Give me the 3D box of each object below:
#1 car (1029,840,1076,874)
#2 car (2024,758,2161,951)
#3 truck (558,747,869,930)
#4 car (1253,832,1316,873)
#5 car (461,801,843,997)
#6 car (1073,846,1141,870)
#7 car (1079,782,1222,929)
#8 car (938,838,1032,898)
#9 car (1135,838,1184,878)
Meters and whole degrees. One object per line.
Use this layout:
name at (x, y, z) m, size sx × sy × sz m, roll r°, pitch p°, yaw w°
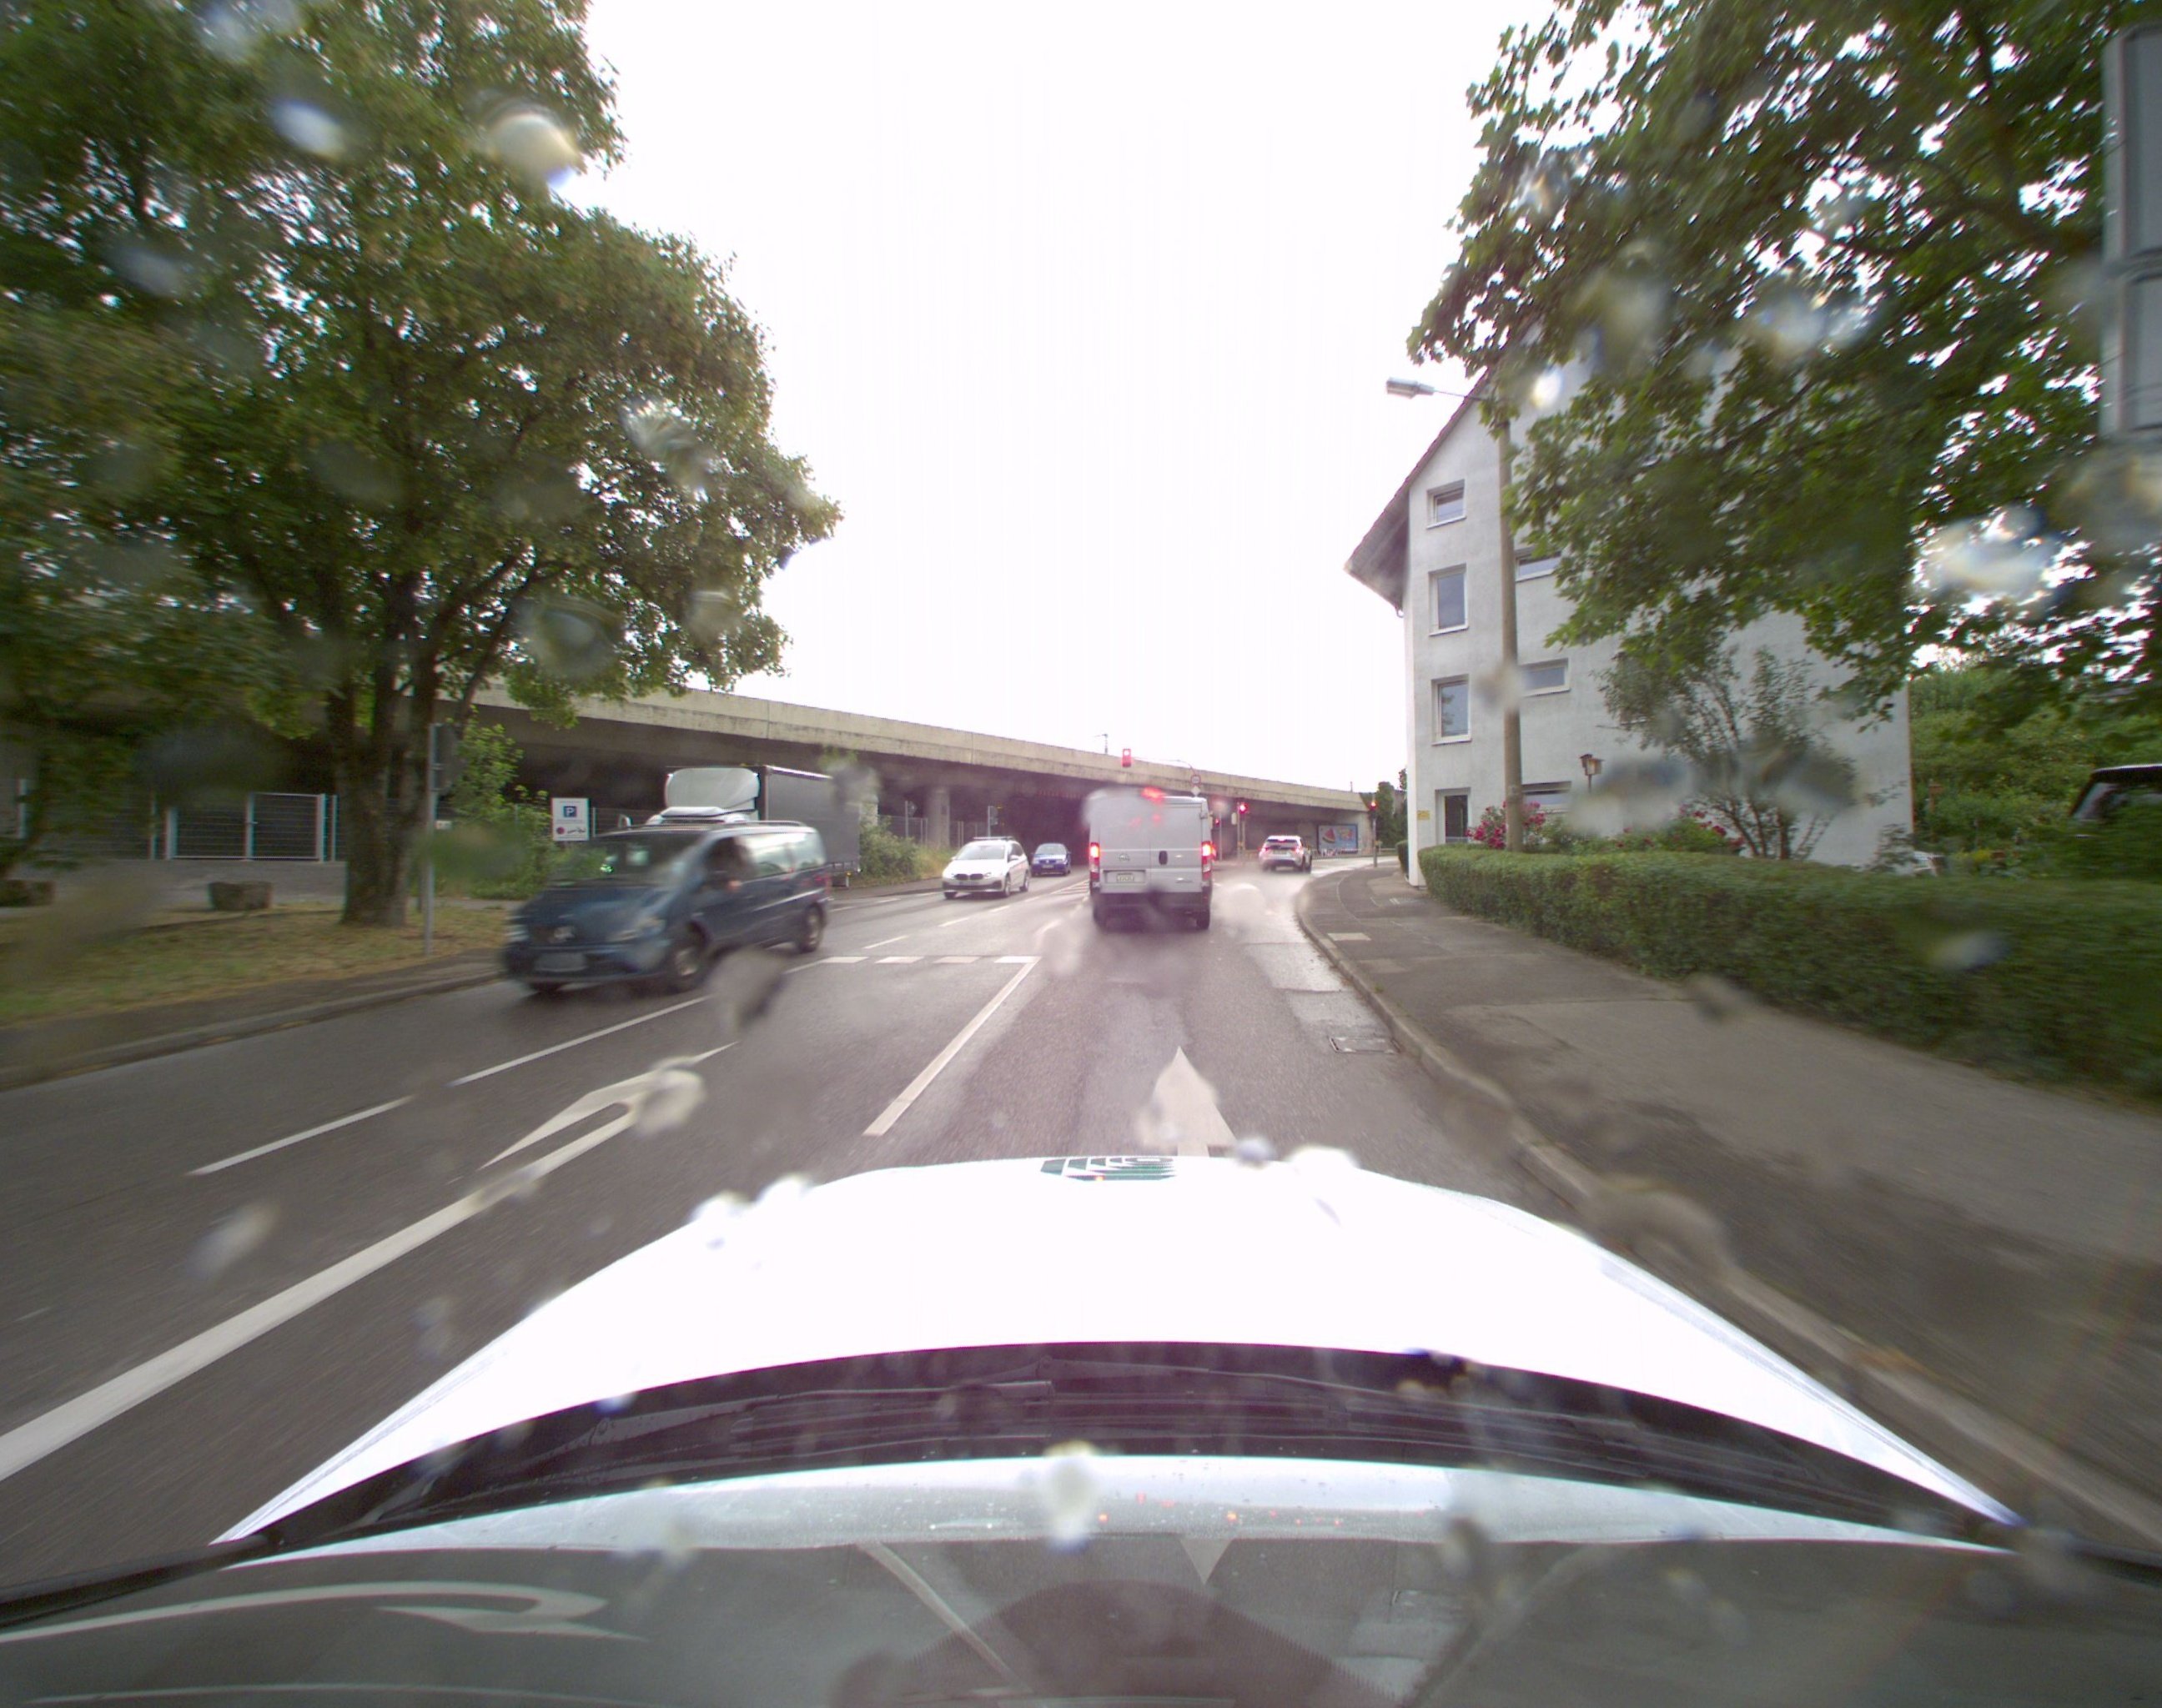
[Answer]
car at (-1.228, 0.100, 36.896) m, size 1.589 × 1.425 × 3.704 m, roll 0°, pitch 1°, yaw 6°
car at (12.952, -0.028, 8.744) m, size 4.408 × 1.932 × 1.990 m, roll -1°, pitch 0°, yaw -15°
truck at (-7.608, -0.298, 18.415) m, size 2.595 × 3.236 × 7.794 m, roll 0°, pitch 0°, yaw 8°
car at (8.364, -0.053, 33.259) m, size 1.976 × 1.549 × 4.021 m, roll 0°, pitch 0°, yaw 21°
car at (-4.973, 0.436, 10.429) m, size 1.947 × 1.931 × 4.693 m, roll -1°, pitch 0°, yaw 7°
car at (1.690, 0.265, 53.290) m, size 3.948 × 1.554 × 2.013 m, roll -1°, pitch 0°, yaw 35°
car at (1.402, -0.011, 15.823) m, size 2.293 × 2.343 × 5.292 m, roll -1°, pitch 1°, yaw 6°
car at (-2.714, 0.325, 24.105) m, size 1.822 × 1.578 × 4.342 m, roll 0°, pitch 2°, yaw 6°
car at (3.675, 0.177, 37.429) m, size 1.982 × 1.729 × 4.010 m, roll 0°, pitch 0°, yaw 9°
